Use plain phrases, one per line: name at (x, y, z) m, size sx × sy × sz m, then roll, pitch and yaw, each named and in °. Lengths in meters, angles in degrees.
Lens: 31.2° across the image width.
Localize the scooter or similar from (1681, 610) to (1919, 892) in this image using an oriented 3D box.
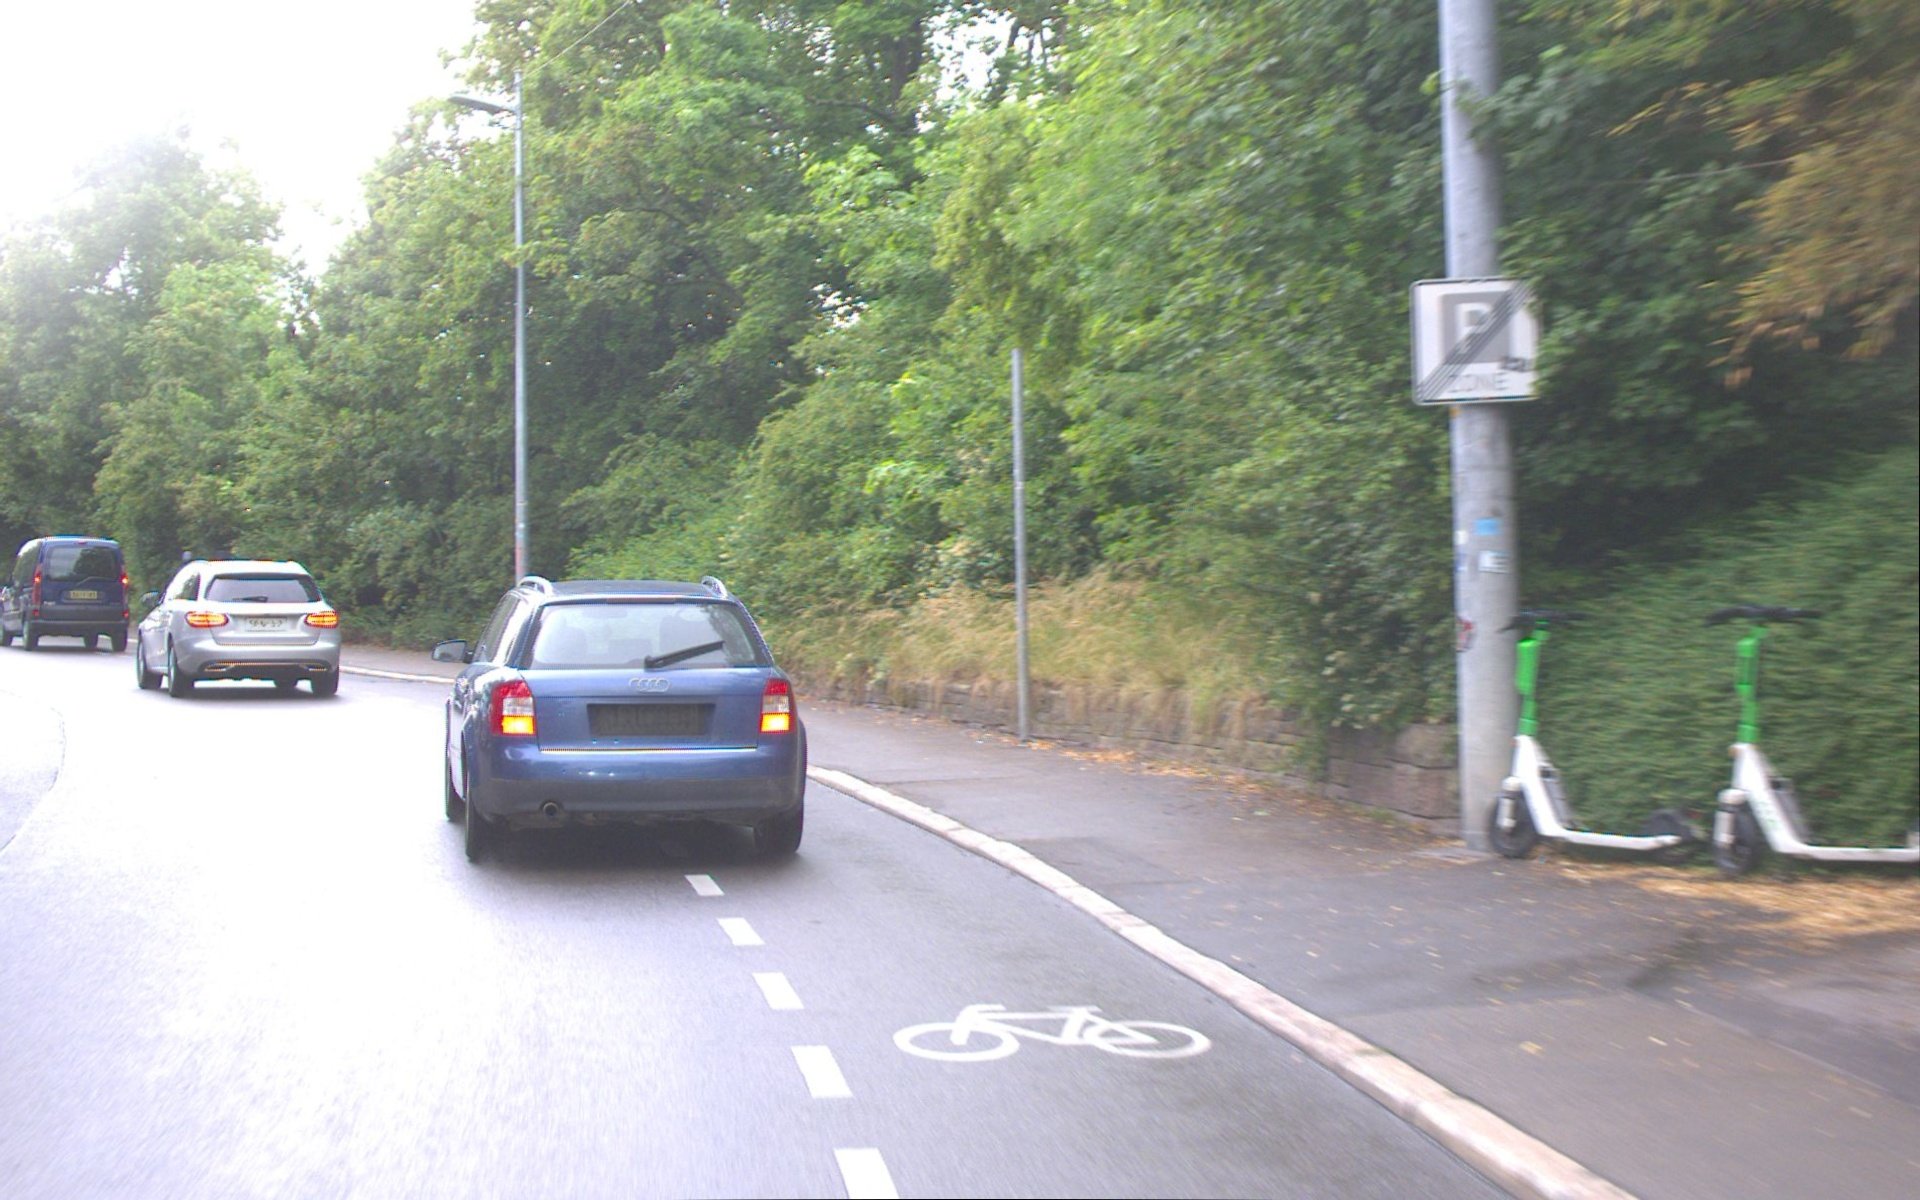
scooter or similar at (3.606, 0.597, 14.133) m, size 0.346 × 1.113 × 1.422 m, roll 0°, pitch 0°, yaw -34°

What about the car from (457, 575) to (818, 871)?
car at (-1.792, 0.580, 18.741) m, size 1.747 × 1.403 × 4.001 m, roll 0°, pitch 1°, yaw -7°

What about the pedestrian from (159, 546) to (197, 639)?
pedestrian at (-13.271, -0.130, 58.320) m, size 0.552 × 1.561 × 0.487 m, roll -1°, pitch 1°, yaw -20°

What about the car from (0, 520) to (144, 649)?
car at (-14.766, -0.231, 56.524) m, size 1.788 × 1.947 × 4.001 m, roll -4°, pitch 1°, yaw -24°

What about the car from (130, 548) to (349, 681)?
car at (-8.018, 0.116, 38.017) m, size 1.890 × 1.384 × 4.001 m, roll 0°, pitch 1°, yaw -19°

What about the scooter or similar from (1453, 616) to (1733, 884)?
scooter or similar at (2.815, 0.646, 15.403) m, size 0.346 × 1.113 × 1.422 m, roll -5°, pitch 3°, yaw -28°

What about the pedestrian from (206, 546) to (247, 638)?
pedestrian at (-12.489, -0.140, 58.530) m, size 0.595 × 1.561 × 0.669 m, roll 0°, pitch 1°, yaw -20°
